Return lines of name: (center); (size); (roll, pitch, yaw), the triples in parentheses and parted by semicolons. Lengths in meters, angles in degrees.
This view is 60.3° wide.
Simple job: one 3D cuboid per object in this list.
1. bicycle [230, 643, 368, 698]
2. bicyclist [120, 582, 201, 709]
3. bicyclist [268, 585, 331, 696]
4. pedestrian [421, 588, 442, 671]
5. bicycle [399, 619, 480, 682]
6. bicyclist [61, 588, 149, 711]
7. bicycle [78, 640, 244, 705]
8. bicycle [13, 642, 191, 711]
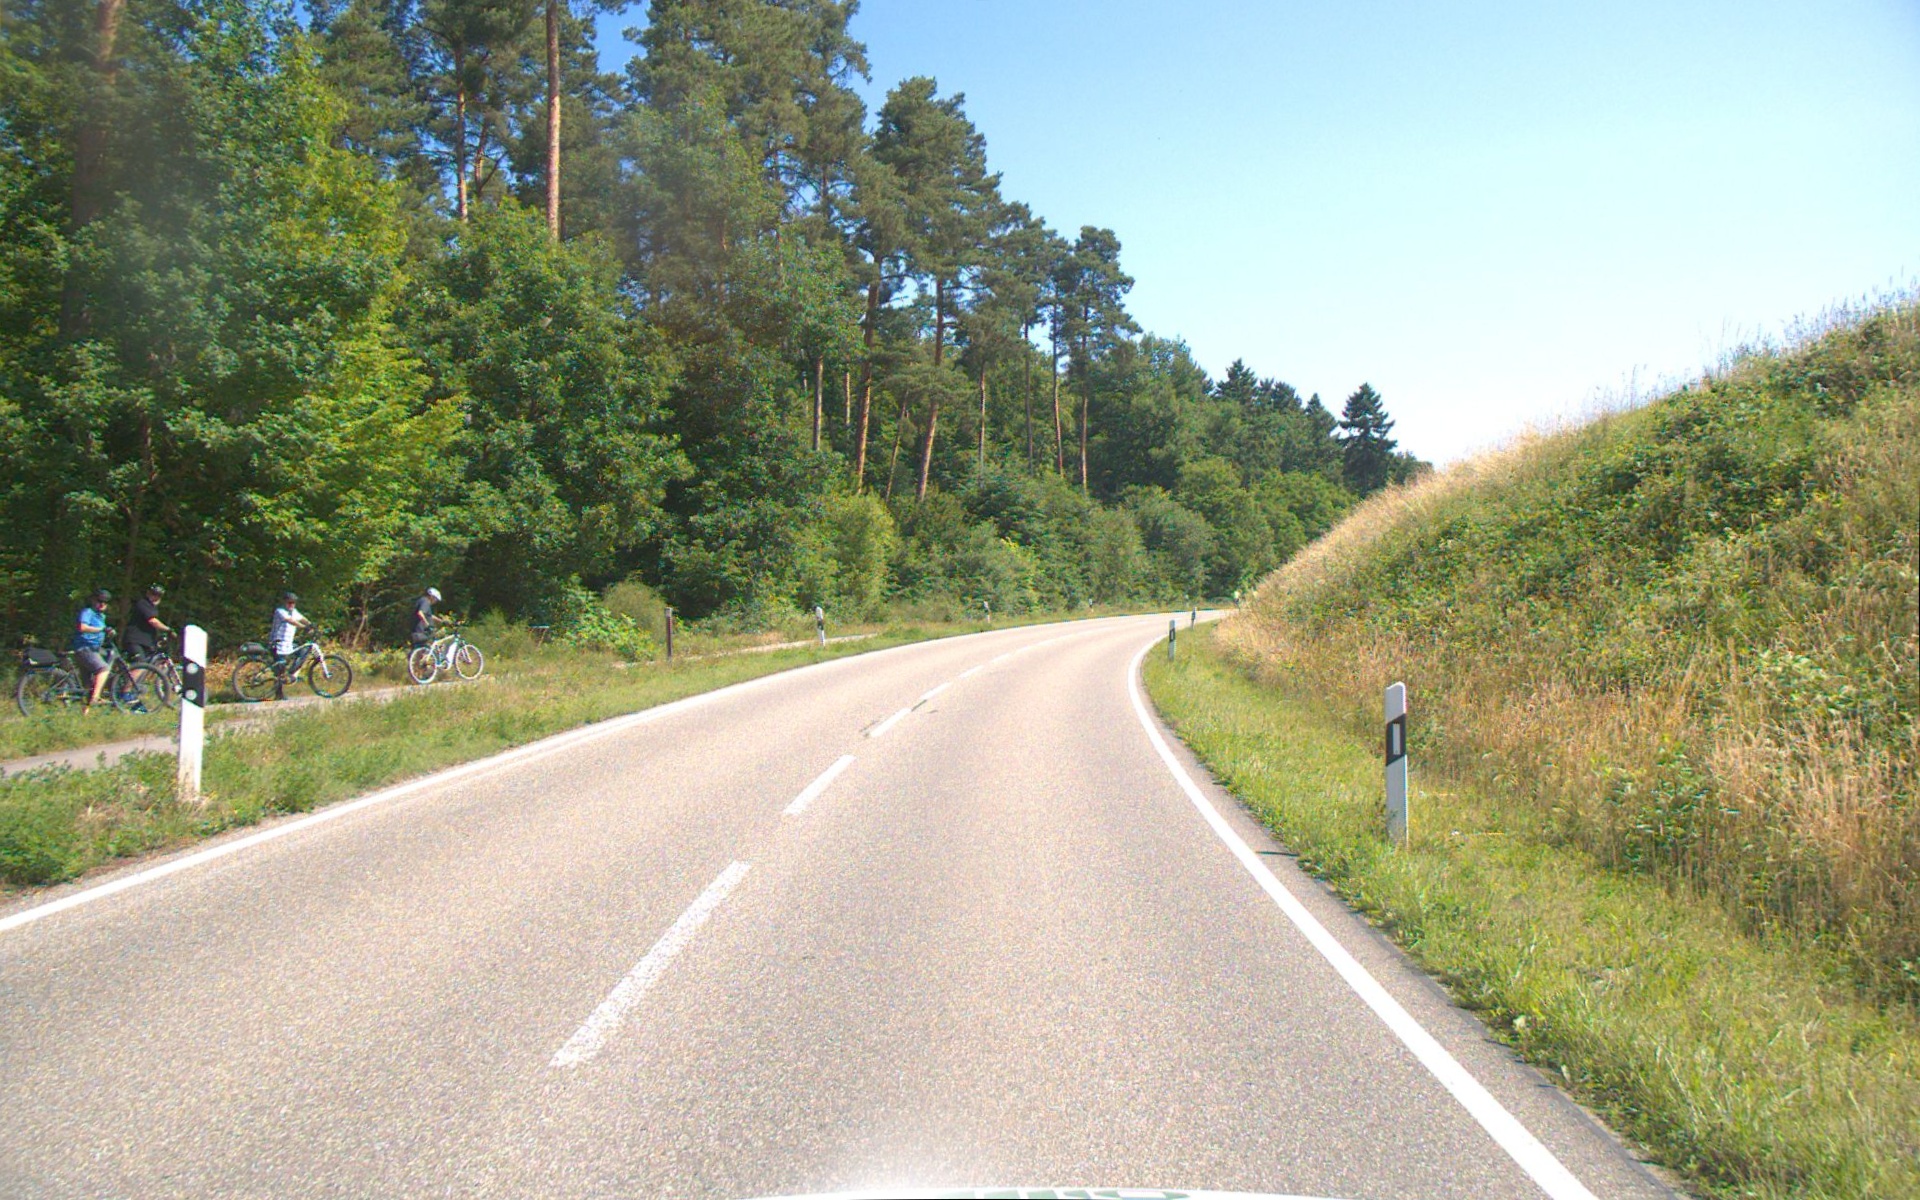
bicycle: (-10.636, 1.132, 26.650); (1.963, 0.844, 0.598); (2, -1, -36)
bicyclist: (-11.135, 0.627, 23.038); (0.843, 1.730, 0.596); (2, -1, -43)
bicyclist: (-10.639, 0.648, 26.637); (0.780, 1.749, 0.598); (2, -1, -36)
pedestrian: (-10.042, 0.557, 31.429); (0.278, 1.565, 0.390); (0, 0, -1)
bicycle: (-9.849, 0.949, 31.328); (0.570, 1.105, 1.444); (2, 2, 32)
bicyclist: (-11.201, 0.646, 21.664); (0.864, 1.572, 0.596); (2, -1, -43)
bicycle: (-11.032, 0.998, 22.890); (1.969, 0.844, 0.596); (2, -1, -43)
bicycle: (-11.208, 0.987, 21.652); (1.969, 0.844, 0.596); (2, -1, -43)
